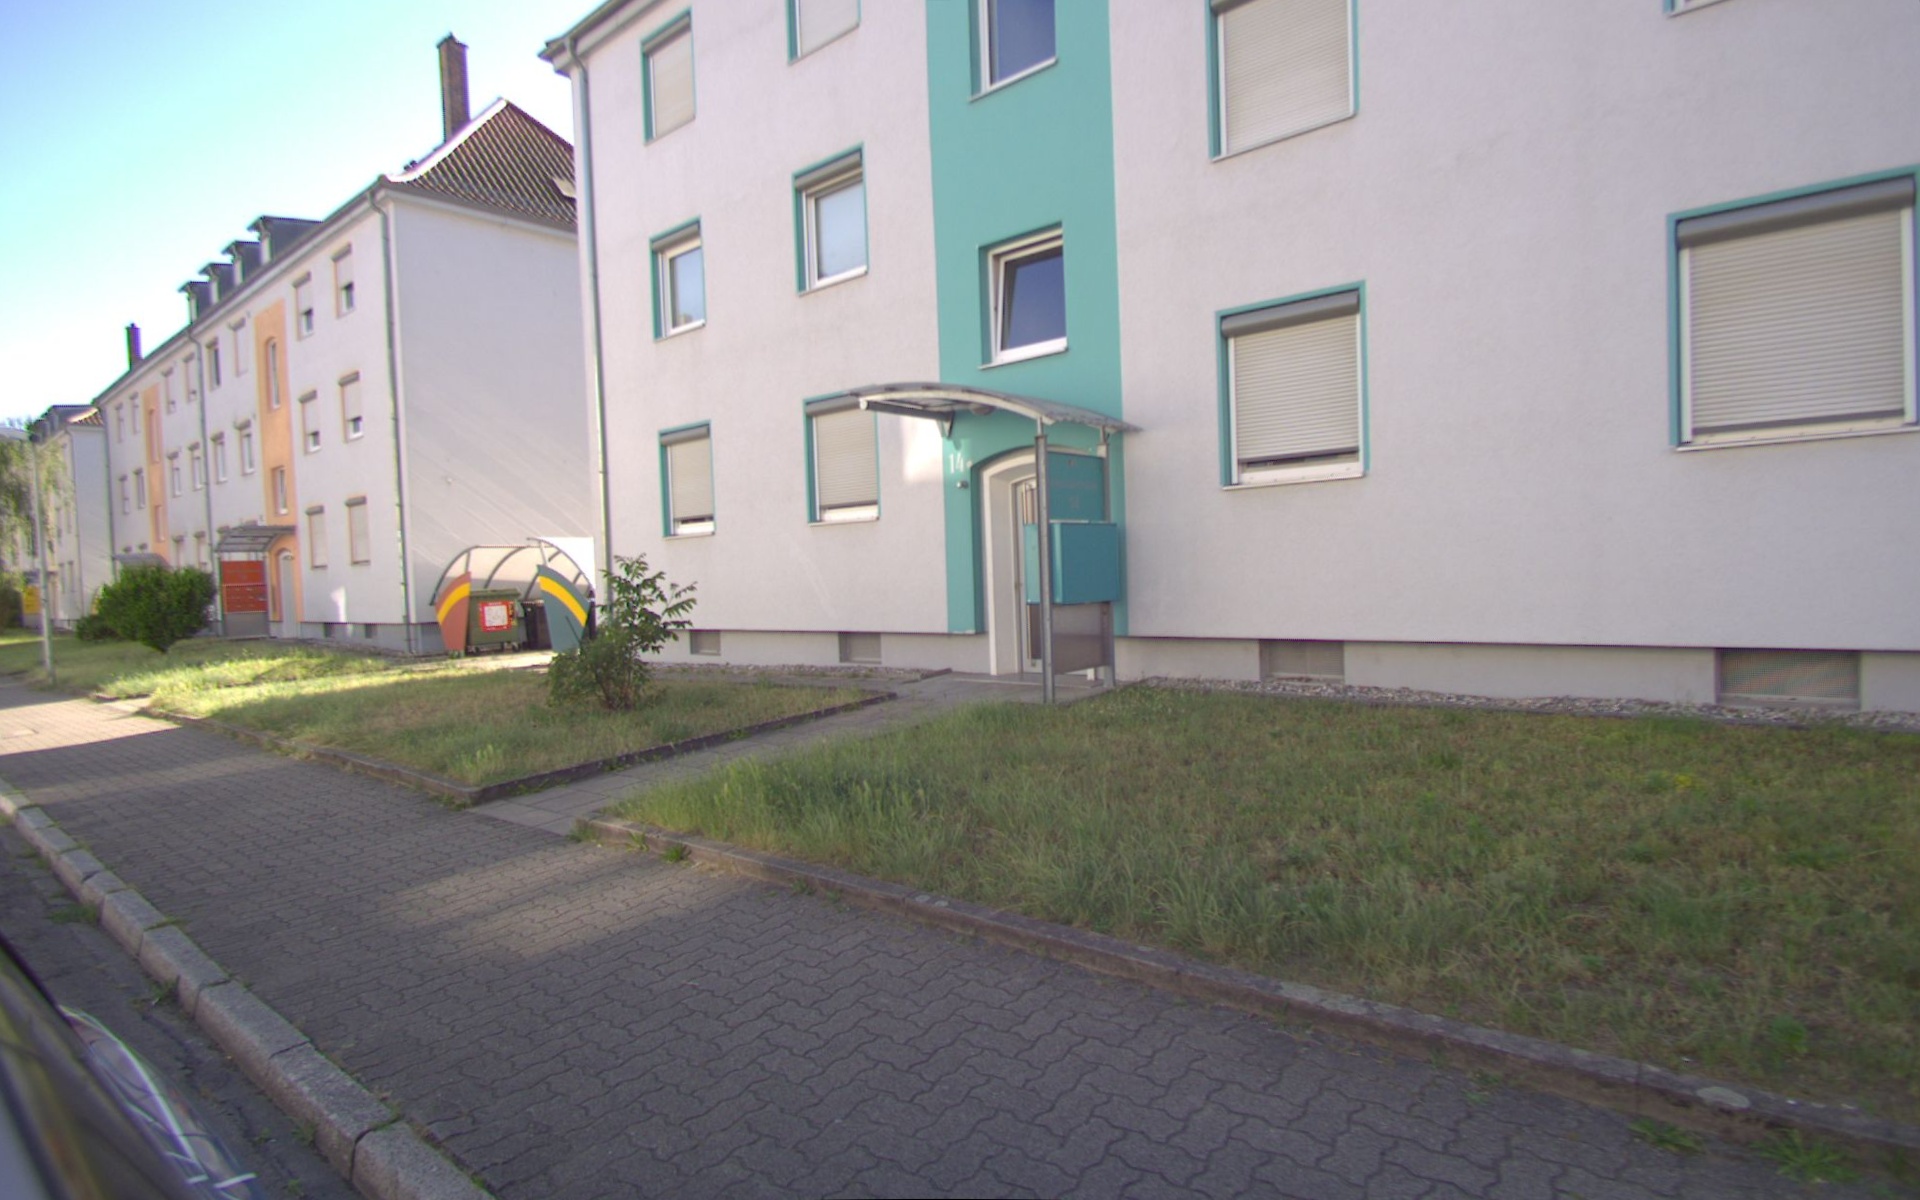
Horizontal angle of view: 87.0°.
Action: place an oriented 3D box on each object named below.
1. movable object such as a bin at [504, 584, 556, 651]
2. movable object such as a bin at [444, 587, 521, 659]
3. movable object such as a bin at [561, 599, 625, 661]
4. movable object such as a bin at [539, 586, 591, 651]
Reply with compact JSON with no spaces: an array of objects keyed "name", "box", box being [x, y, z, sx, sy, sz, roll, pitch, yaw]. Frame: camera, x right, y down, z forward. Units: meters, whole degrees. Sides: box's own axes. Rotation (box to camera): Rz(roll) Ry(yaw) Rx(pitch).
[{"name":"movable object such as a bin","box":[-9.258,0.372,21.795,0.762,1.403,0.743,-2,1,41]},{"name":"movable object such as a bin","box":[-9.903,0.469,21.008,0.877,1.403,1.152,-2,1,41]},{"name":"movable object such as a bin","box":[-6.365,0.505,17.554,0.762,1.020,0.743,-2,1,41]},{"name":"movable object such as a bin","box":[-8.743,0.403,22.398,0.762,1.403,0.743,-2,1,41]}]
